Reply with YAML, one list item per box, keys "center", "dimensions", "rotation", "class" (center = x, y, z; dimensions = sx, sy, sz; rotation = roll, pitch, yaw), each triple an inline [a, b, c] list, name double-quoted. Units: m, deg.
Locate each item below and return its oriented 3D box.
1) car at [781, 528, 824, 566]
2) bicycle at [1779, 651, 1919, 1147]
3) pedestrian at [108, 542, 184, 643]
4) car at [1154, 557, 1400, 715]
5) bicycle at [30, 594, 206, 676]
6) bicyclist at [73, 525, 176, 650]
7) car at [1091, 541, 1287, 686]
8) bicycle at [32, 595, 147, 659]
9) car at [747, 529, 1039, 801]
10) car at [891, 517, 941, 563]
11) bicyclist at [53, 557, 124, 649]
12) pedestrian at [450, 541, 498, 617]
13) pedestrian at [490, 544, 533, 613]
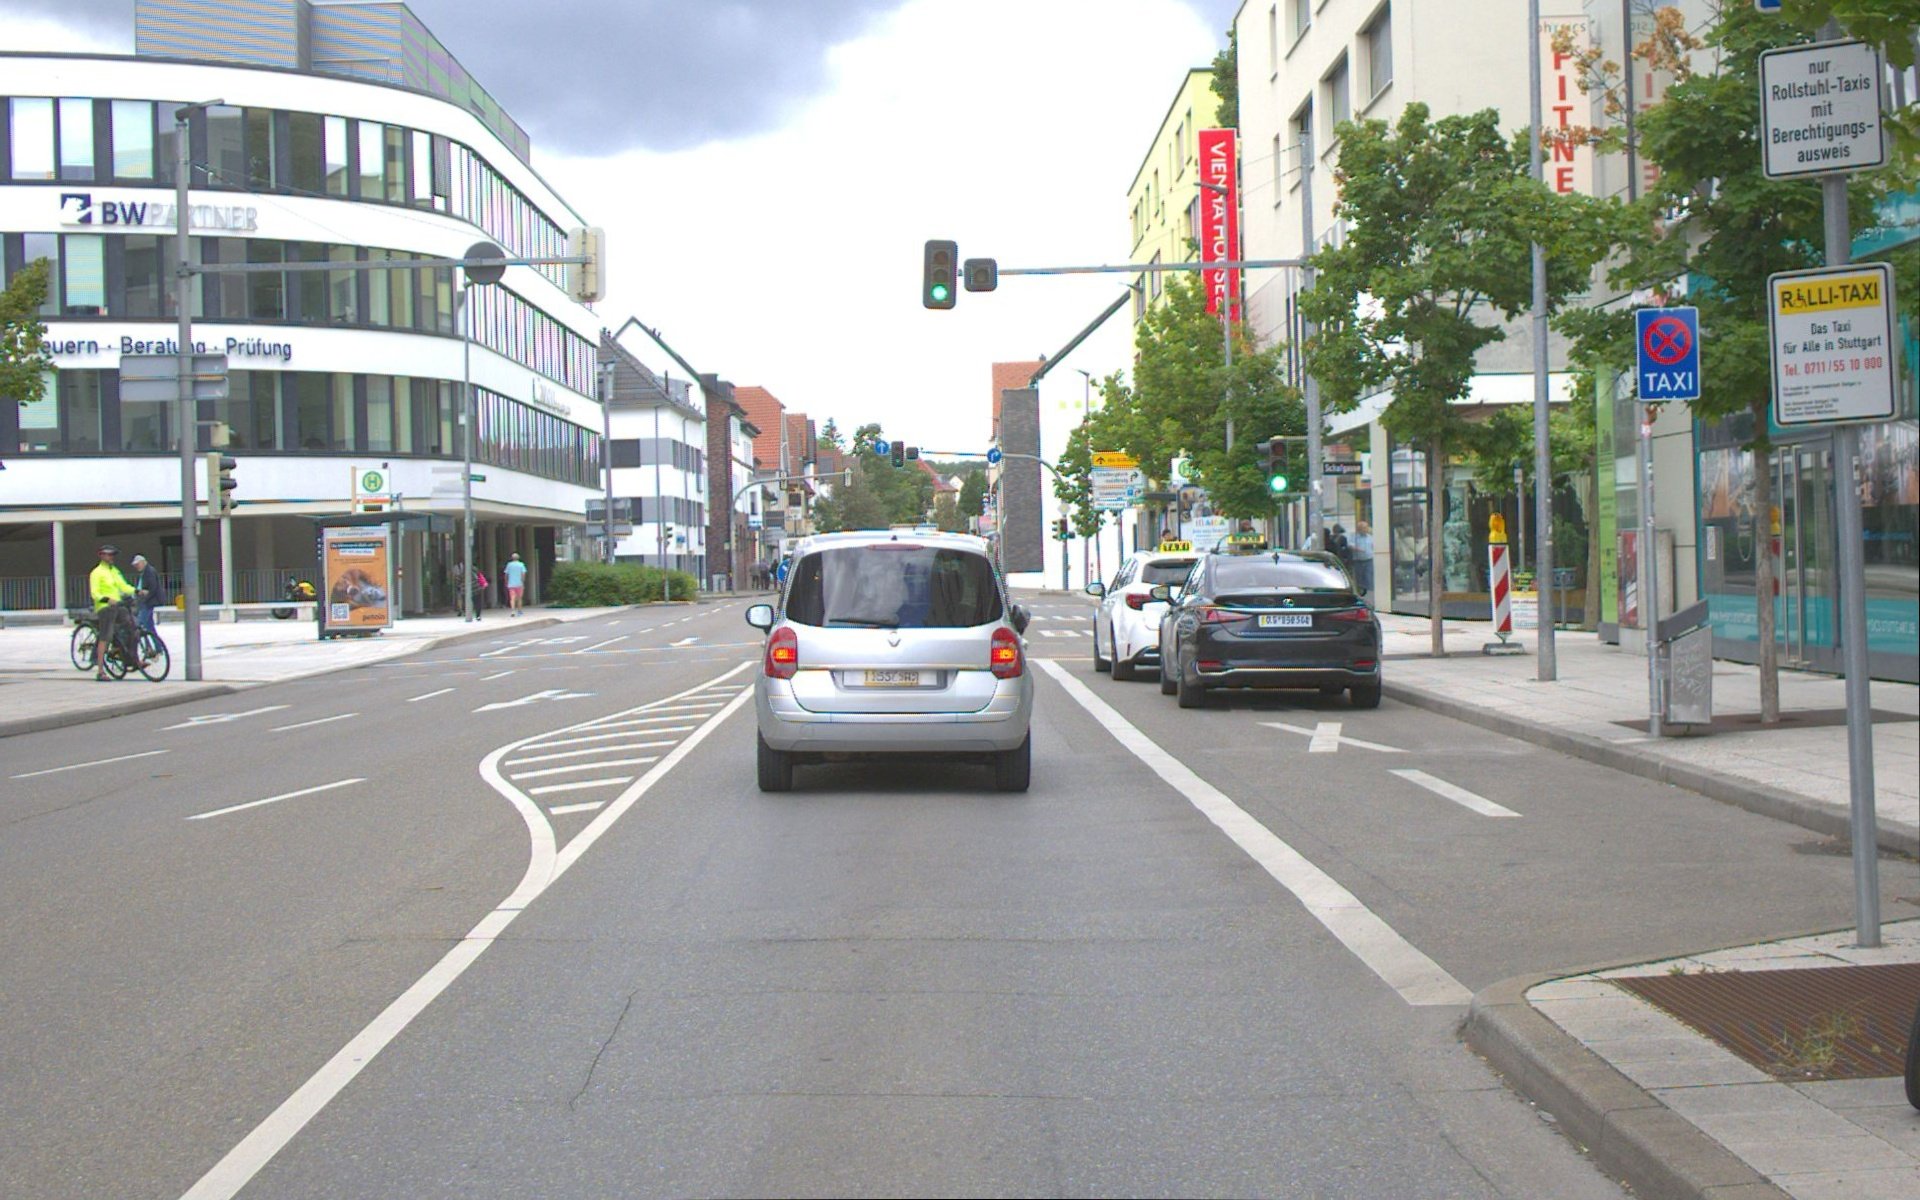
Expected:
- center: [-8.748, -2.956, 191.352]
  dimensions: [2.170, 2.007, 4.258]
  rotation: [-1, 1, -1]
  class: "car"
- center: [2.944, 0.645, 8.058]
  dimensions: [1.825, 1.071, 0.752]
  rotation: [-2, 1, -2]
  class: "bicycle"
- center: [-15.131, -0.145, 63.943]
  dimensions: [1.246, 1.827, 0.964]
  rotation: [-2, 1, -8]
  class: "pedestrian"
- center: [2.909, 0.291, 32.309]
  dimensions: [1.877, 1.330, 4.000]
  rotation: [1, 1, -1]
  class: "car"
- center: [-11.472, 0.464, 46.769]
  dimensions: [1.006, 1.015, 3.129]
  rotation: [1, 0, -41]
  class: "bicycle"
- center: [-11.328, -0.171, 46.620]
  dimensions: [1.006, 1.655, 0.932]
  rotation: [1, 0, -41]
  class: "bicyclist"
- center: [2.526, 0.111, 38.833]
  dimensions: [1.877, 1.503, 4.000]
  rotation: [1, 1, -1]
  class: "car"
- center: [-12.743, 0.382, 50.277]
  dimensions: [0.827, 0.895, 2.525]
  rotation: [-1, 1, -33]
  class: "bicycle"
- center: [-0.487, 0.347, 21.791]
  dimensions: [1.669, 1.549, 3.642]
  rotation: [1, 1, -3]
  class: "car"
- center: [-1.967, -2.711, 155.322]
  dimensions: [2.170, 2.007, 4.258]
  rotation: [-1, 1, -1]
  class: "car"
- center: [-12.748, 0.037, 50.281]
  dimensions: [0.827, 1.322, 0.652]
  rotation: [-1, 1, -33]
  class: "bicyclist"
- center: [-12.012, -0.524, 84.969]
  dimensions: [0.960, 1.827, 1.250]
  rotation: [-1, 1, 0]
  class: "pedestrian"
- center: [-12.139, -0.580, 93.120]
  dimensions: [0.960, 1.827, 1.250]
  rotation: [-1, 1, 0]
  class: "pedestrian"
